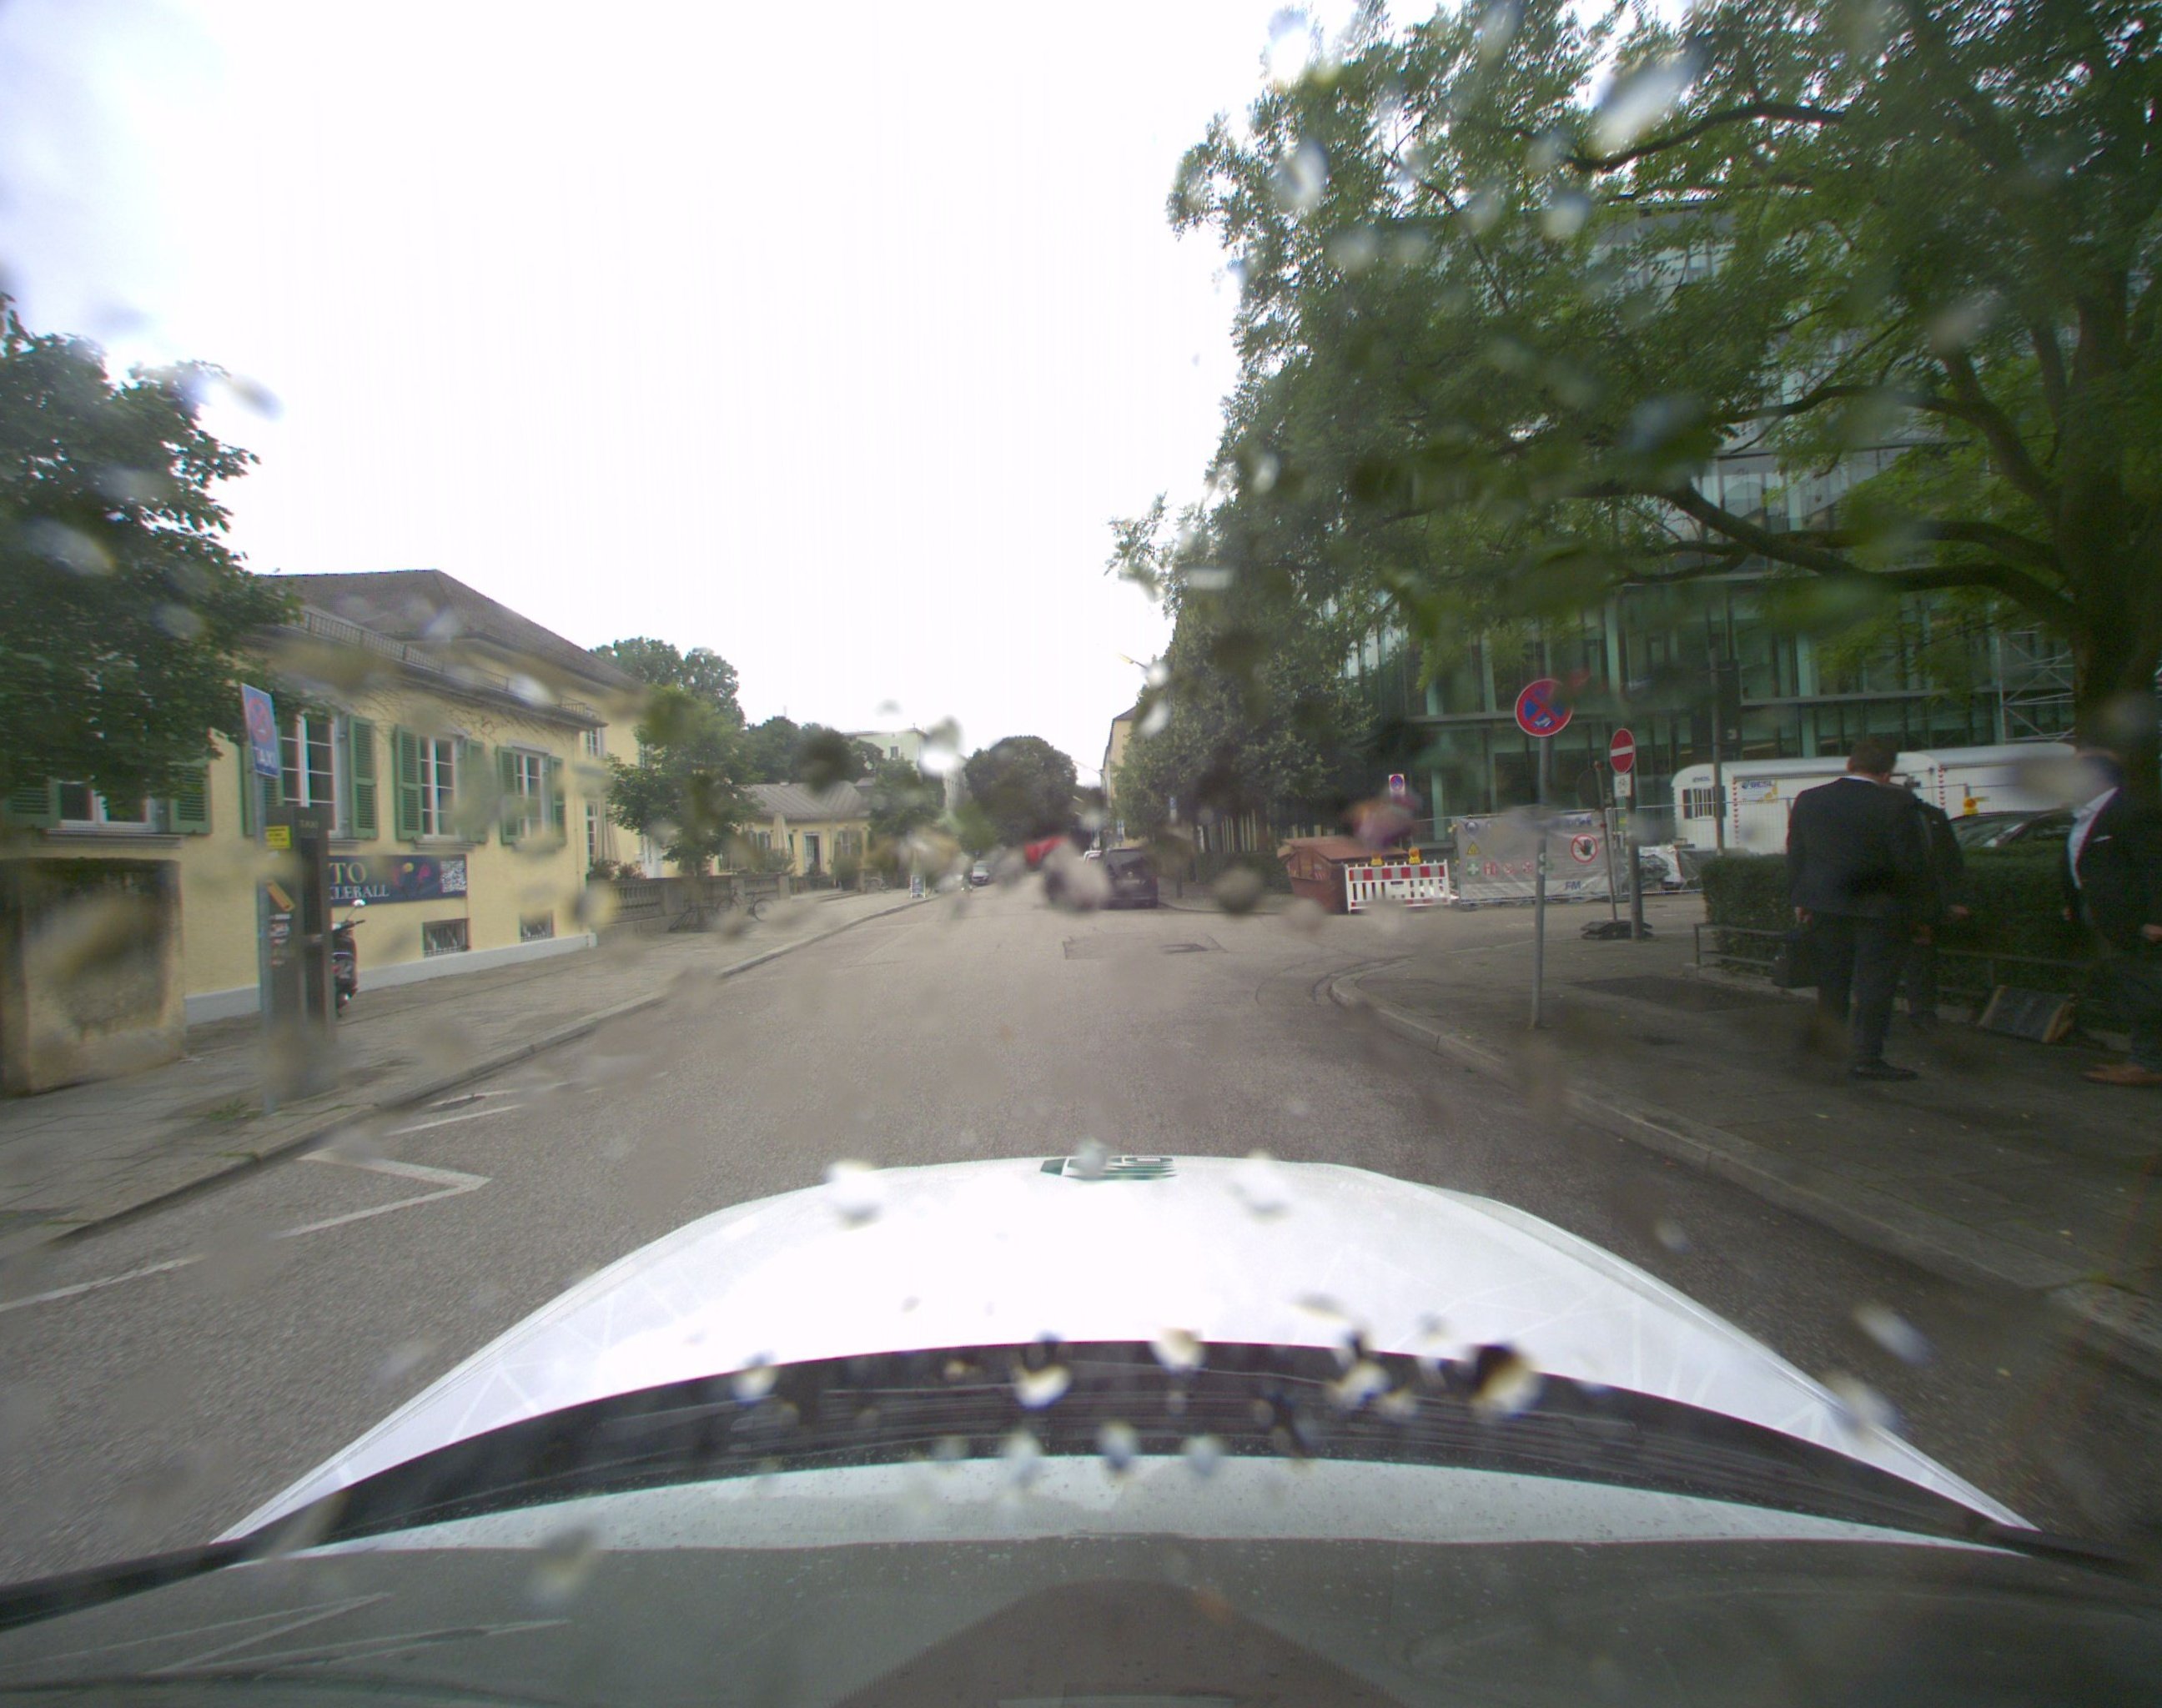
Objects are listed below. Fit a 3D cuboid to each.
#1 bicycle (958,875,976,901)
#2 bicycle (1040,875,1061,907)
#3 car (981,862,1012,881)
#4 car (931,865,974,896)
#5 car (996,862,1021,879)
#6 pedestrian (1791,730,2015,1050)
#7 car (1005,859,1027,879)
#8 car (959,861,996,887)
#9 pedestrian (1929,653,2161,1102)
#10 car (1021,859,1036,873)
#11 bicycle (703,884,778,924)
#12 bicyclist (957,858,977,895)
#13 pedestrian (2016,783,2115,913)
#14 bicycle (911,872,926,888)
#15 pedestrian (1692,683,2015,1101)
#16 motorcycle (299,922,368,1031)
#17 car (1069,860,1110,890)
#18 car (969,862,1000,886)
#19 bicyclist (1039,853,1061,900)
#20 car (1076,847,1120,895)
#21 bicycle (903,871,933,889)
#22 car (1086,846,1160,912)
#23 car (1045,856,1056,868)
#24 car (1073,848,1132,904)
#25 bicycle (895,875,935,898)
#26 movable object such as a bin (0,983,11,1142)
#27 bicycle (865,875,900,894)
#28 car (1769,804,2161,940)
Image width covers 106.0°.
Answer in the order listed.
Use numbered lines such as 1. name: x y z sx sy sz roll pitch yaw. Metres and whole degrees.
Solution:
1. bicycle: -4.897 1.439 35.086 0.620 1.004 2.136 -3 0 -5
2. bicycle: -1.000 1.227 27.307 0.620 1.004 2.138 -3 -2 -1
3. car: -7.041 1.444 68.200 1.986 1.486 4.002 -1 0 2
4. car: -6.825 1.376 43.525 1.729 1.581 3.785 0 0 -1
5. car: -7.011 1.577 79.098 1.987 1.486 4.000 -3 0 0
6. pedestrian: 5.462 0.218 5.499 0.735 1.907 1.062 -4 -1 31
7. car: -6.965 1.584 87.701 1.988 2.079 3.997 -3 0 -2
8. car: -7.082 1.332 56.118 1.988 1.648 4.652 -3 0 -1
9. pedestrian: 5.456 0.104 4.286 0.741 2.134 1.054 -3 -1 -5
10. car: -7.161 1.636 110.488 1.806 1.683 3.997 -3 0 -2
11. bicycle: -9.950 1.458 23.823 1.925 1.099 0.614 -1 -1 -2
12. bicyclist: -4.907 0.958 35.144 0.742 1.576 0.975 -3 0 -5
13. pedestrian: 14.347 -0.082 11.878 0.673 1.809 0.679 -4 -1 -23
14. bicycle: -10.965 1.756 54.922 0.619 1.004 1.619 -2 -2 2
15. pedestrian: 4.430 0.193 4.773 0.741 2.134 1.054 -3 -1 -5
16. motorcycle: -9.108 1.438 9.960 0.562 1.101 1.816 -1 -1 -41
17. car: 0.388 1.034 41.766 1.858 1.440 4.252 -2 0 -2
18. car: -7.188 1.498 61.202 1.989 1.603 3.995 -2 -1 -3
19. bicyclist: -1.031 0.756 27.386 0.670 1.497 1.094 -3 -2 -1
20. car: 0.689 0.704 36.251 1.744 1.943 4.226 -3 0 -1
21. bicycle: -9.988 1.573 49.902 1.624 1.004 0.617 -2 -2 -32
22. car: 1.212 0.715 25.243 1.757 1.823 4.133 -2 0 -4
23. car: -5.466 1.457 148.399 1.988 2.099 3.997 0 0 -2
24. car: 0.705 0.759 30.034 1.858 1.794 4.507 -3 0 -1
25. bicycle: -7.903 1.559 38.912 0.615 1.004 2.153 0 0 29
26. movable object such as a bin: -7.707 1.427 5.054 0.934 1.063 0.838 -2 0 -7
27. bicycle: -10.506 1.601 43.076 1.623 0.926 0.645 -2 -2 -29
28. car: 12.066 0.209 10.840 4.191 1.486 1.869 -3 -1 0
